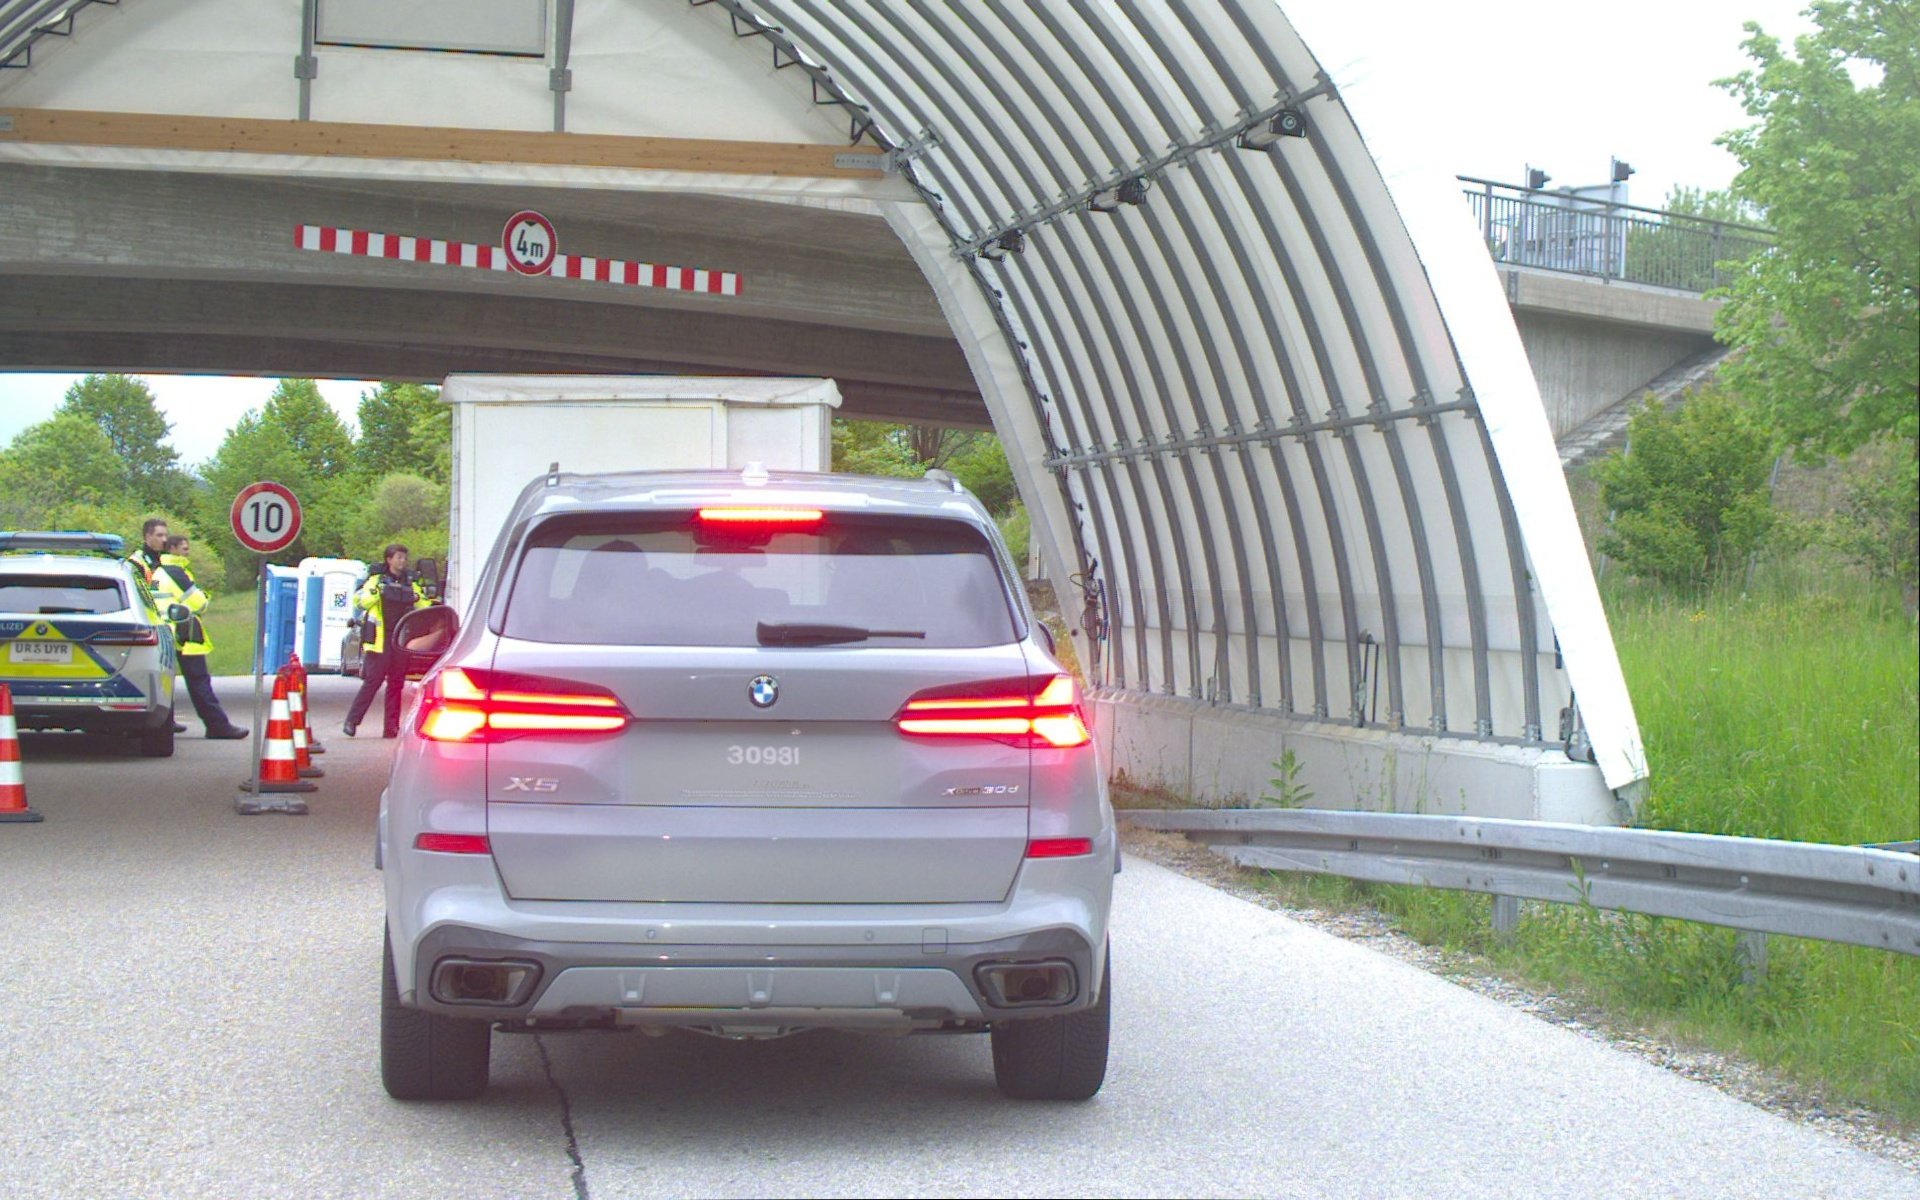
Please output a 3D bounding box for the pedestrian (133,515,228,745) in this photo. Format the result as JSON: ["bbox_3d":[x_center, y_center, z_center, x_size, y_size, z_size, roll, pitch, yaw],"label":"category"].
[{"bbox_3d":[-6.564,0.244,28.944,0.749,1.912,0.763,0,0,-15],"label":"pedestrian"}]

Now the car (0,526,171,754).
[{"bbox_3d":[-7.168,0.275,26.758,1.877,1.641,4.001,0,0,-15],"label":"car"}]

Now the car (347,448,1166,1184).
[{"bbox_3d":[-0.795,0.497,10.350,1.993,1.759,4.001,0,0,-9],"label":"car"}]

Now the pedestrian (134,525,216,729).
[{"bbox_3d":[-6.825,0.230,29.894,0.609,1.748,0.666,0,0,-6],"label":"pedestrian"}]

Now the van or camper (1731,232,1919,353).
[{"bbox_3d":[16.557,-5.559,62.672,5.436,1.764,1.896,0,1,-39],"label":"van or camper"}]

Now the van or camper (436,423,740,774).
[{"bbox_3d":[-3.089,-0.031,27.488,2.103,2.510,5.552,0,0,-9],"label":"van or camper"}]

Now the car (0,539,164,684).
[{"bbox_3d":[-13.977,0.152,48.943,4.807,2.007,1.840,0,0,7],"label":"car"}]

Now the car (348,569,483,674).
[{"bbox_3d":[-9.296,0.340,58.477,1.993,1.716,3.897,0,0,-13],"label":"car"}]

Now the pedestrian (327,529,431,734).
[{"bbox_3d":[-4.963,0.261,29.337,0.779,1.716,0.757,0,0,-16],"label":"pedestrian"}]

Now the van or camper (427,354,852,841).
[{"bbox_3d":[-2.182,-0.041,21.412,2.229,2.543,6.612,0,0,-9],"label":"van or camper"}]
